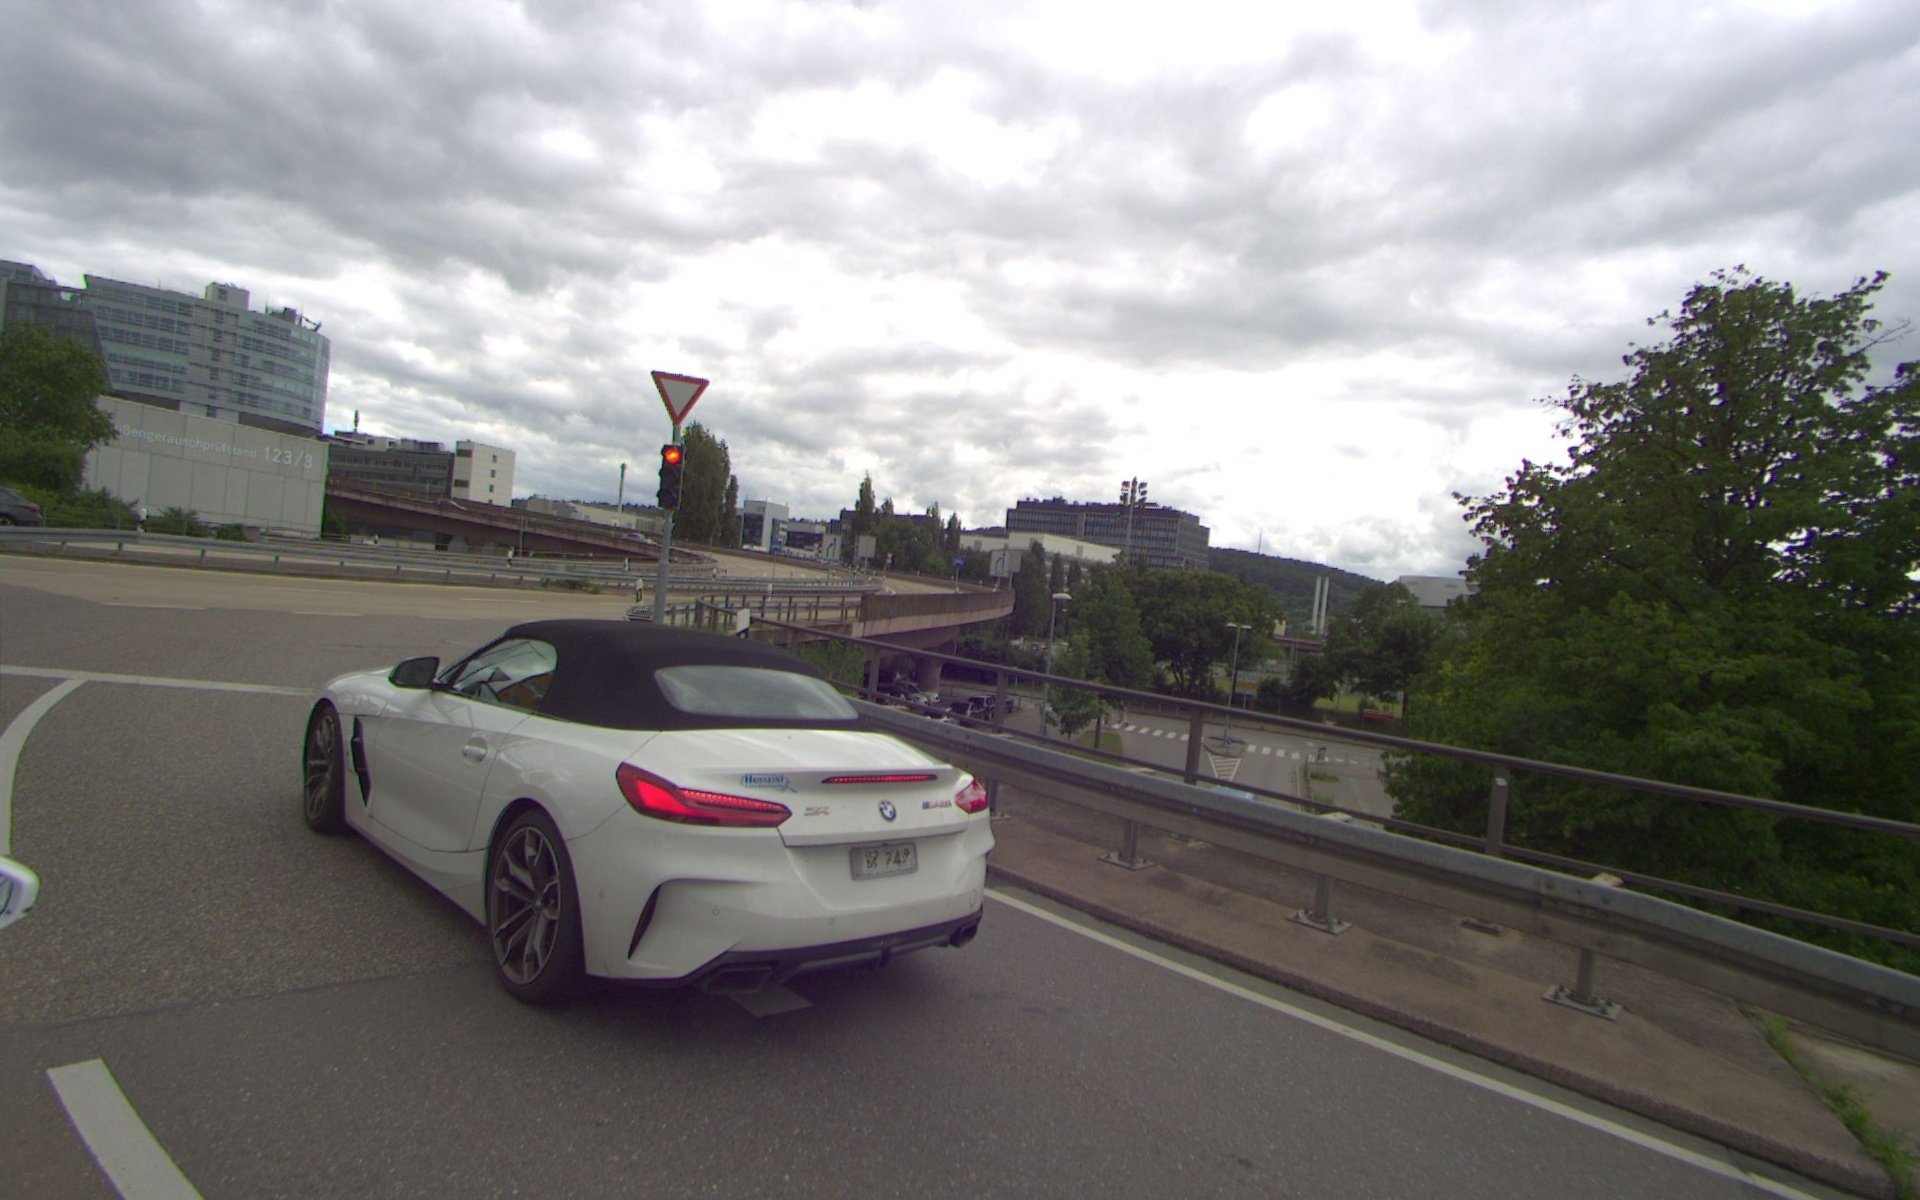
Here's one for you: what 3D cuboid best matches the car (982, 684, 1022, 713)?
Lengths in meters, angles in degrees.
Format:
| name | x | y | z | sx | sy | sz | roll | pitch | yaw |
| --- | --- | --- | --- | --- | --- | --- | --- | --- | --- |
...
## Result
| name | x | y | z | sx | sy | sz | roll | pitch | yaw |
| --- | --- | --- | --- | --- | --- | --- | --- | --- | --- |
| car | 3.009 | 6.924 | 70.924 | 1.792 | 1.553 | 4.000 | 8 | 1 | 15 |

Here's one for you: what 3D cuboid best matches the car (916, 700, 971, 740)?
| name | x | y | z | sx | sy | sz | roll | pitch | yaw |
| --- | --- | --- | --- | --- | --- | --- | --- | --- | --- |
| car | -0.850 | 6.526 | 55.069 | 1.792 | 1.553 | 4.000 | 8 | 1 | 15 |

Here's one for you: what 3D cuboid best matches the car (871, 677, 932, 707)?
| name | x | y | z | sx | sy | sz | roll | pitch | yaw |
| --- | --- | --- | --- | --- | --- | --- | --- | --- | --- |
| car | -4.053 | 6.357 | 69.850 | 3.790 | 1.371 | 1.827 | 8 | 1 | 11 |

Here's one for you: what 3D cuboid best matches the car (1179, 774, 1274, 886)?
| name | x | y | z | sx | sy | sz | roll | pitch | yaw |
| --- | --- | --- | --- | --- | --- | --- | --- | --- | --- |
| car | 8.907 | 7.440 | 33.272 | 1.979 | 2.617 | 5.395 | 10 | -1 | 22 |

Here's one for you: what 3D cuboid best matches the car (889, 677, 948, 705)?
| name | x | y | z | sx | sy | sz | roll | pitch | yaw |
| --- | --- | --- | --- | --- | --- | --- | --- | --- | --- |
| car | -3.003 | 6.530 | 72.488 | 3.790 | 1.371 | 1.827 | 8 | 1 | 11 |

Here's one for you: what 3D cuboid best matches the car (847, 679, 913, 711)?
| name | x | y | z | sx | sy | sz | roll | pitch | yaw |
| --- | --- | --- | --- | --- | --- | --- | --- | --- | --- |
| car | -5.178 | 6.160 | 65.521 | 3.790 | 1.371 | 1.827 | 8 | 1 | 11 |

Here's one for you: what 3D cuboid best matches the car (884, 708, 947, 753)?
| name | x | y | z | sx | sy | sz | roll | pitch | yaw |
| --- | --- | --- | --- | --- | --- | --- | --- | --- | --- |
| car | -2.163 | 6.416 | 49.810 | 1.792 | 1.553 | 4.000 | 8 | 1 | 15 |

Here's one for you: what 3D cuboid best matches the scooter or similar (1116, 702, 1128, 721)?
| name | x | y | z | sx | sy | sz | roll | pitch | yaw |
| --- | --- | --- | --- | --- | --- | --- | --- | --- | --- |
| scooter or similar | 11.998 | 8.269 | 74.392 | 0.482 | 1.199 | 1.071 | 8 | 1 | -5 |

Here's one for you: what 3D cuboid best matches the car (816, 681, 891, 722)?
| name | x | y | z | sx | sy | sz | roll | pitch | yaw |
| --- | --- | --- | --- | --- | --- | --- | --- | --- | --- |
| car | -6.173 | 5.874 | 58.542 | 3.790 | 1.637 | 1.827 | 8 | 1 | 11 |

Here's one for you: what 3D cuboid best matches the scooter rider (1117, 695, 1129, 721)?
| name | x | y | z | sx | sy | sz | roll | pitch | yaw |
| --- | --- | --- | --- | --- | --- | --- | --- | --- | --- |
| scooter rider | 12.043 | 7.983 | 74.359 | 0.482 | 1.776 | 0.547 | 8 | 2 | -5 |

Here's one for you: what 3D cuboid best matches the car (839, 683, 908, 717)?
| name | x | y | z | sx | sy | sz | roll | pitch | yaw |
| --- | --- | --- | --- | --- | --- | --- | --- | --- | --- |
| car | -5.419 | 6.250 | 63.066 | 3.790 | 1.371 | 1.827 | 8 | 1 | 11 |

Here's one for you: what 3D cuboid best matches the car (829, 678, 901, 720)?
| name | x | y | z | sx | sy | sz | roll | pitch | yaw |
| --- | --- | --- | --- | --- | --- | --- | --- | --- | --- |
| car | -5.701 | 5.960 | 60.726 | 3.790 | 1.782 | 1.827 | 8 | 1 | 11 |

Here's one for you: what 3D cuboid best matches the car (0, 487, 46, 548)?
| name | x | y | z | sx | sy | sz | roll | pitch | yaw |
| --- | --- | --- | --- | --- | --- | --- | --- | --- | --- |
| car | -26.617 | -2.423 | 25.528 | 1.920 | 1.474 | 4.621 | 8 | -1 | 21 |

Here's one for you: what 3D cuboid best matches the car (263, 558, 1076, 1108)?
| name | x | y | z | sx | sy | sz | roll | pitch | yaw |
| --- | --- | --- | --- | --- | --- | --- | --- | --- | --- |
| car | -1.730 | 0.702 | 4.924 | 4.205 | 1.306 | 1.803 | 7 | -2 | 43 |

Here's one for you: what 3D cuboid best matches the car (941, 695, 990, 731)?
| name | x | y | z | sx | sy | sz | roll | pitch | yaw |
| --- | --- | --- | --- | --- | --- | --- | --- | --- | --- |
| car | 0.367 | 6.633 | 59.609 | 1.792 | 1.553 | 4.000 | 8 | 1 | 15 |

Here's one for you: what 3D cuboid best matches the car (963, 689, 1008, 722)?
| name | x | y | z | sx | sy | sz | roll | pitch | yaw |
| --- | --- | --- | --- | --- | --- | --- | --- | --- | --- |
| car | 1.688 | 6.771 | 64.926 | 1.792 | 1.553 | 4.195 | 8 | 1 | 15 |

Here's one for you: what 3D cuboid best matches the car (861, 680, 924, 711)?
| name | x | y | z | sx | sy | sz | roll | pitch | yaw |
| --- | --- | --- | --- | --- | --- | --- | --- | --- | --- |
| car | -4.538 | 6.420 | 67.786 | 3.790 | 1.371 | 1.827 | 8 | 1 | 11 |
